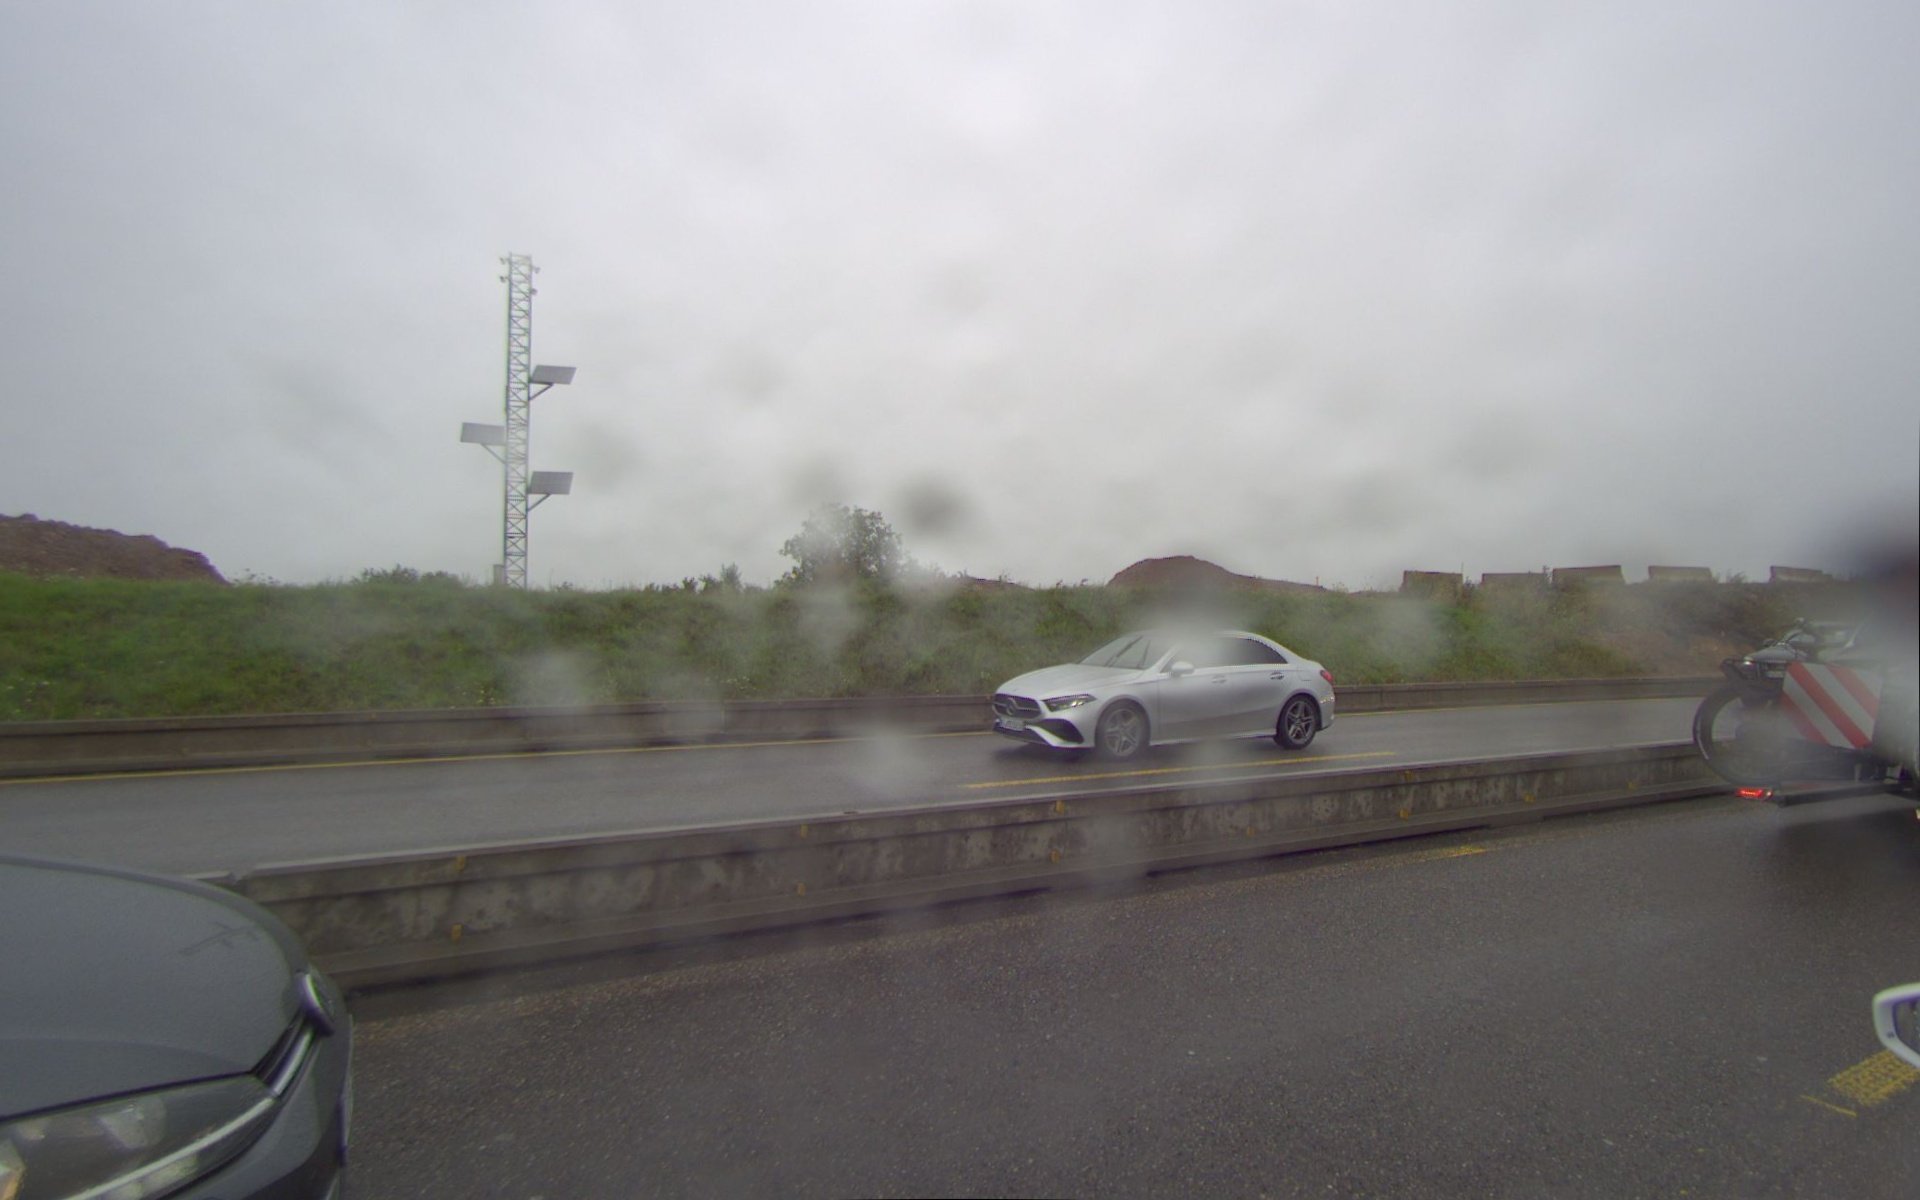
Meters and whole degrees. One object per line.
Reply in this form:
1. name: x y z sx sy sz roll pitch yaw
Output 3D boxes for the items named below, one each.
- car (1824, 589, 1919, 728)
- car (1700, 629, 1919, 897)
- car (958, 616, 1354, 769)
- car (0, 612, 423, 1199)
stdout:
1. car: 16.032 0.881 15.991 4.911 2.026 1.984 1 0 -30
2. car: 7.893 0.993 7.472 5.560 1.482 1.727 0 0 -29
3. car: 2.414 1.004 12.132 4.480 1.521 1.985 2 -1 -29
4. car: -2.939 0.699 1.131 4.033 1.441 1.641 3 -2 -31
